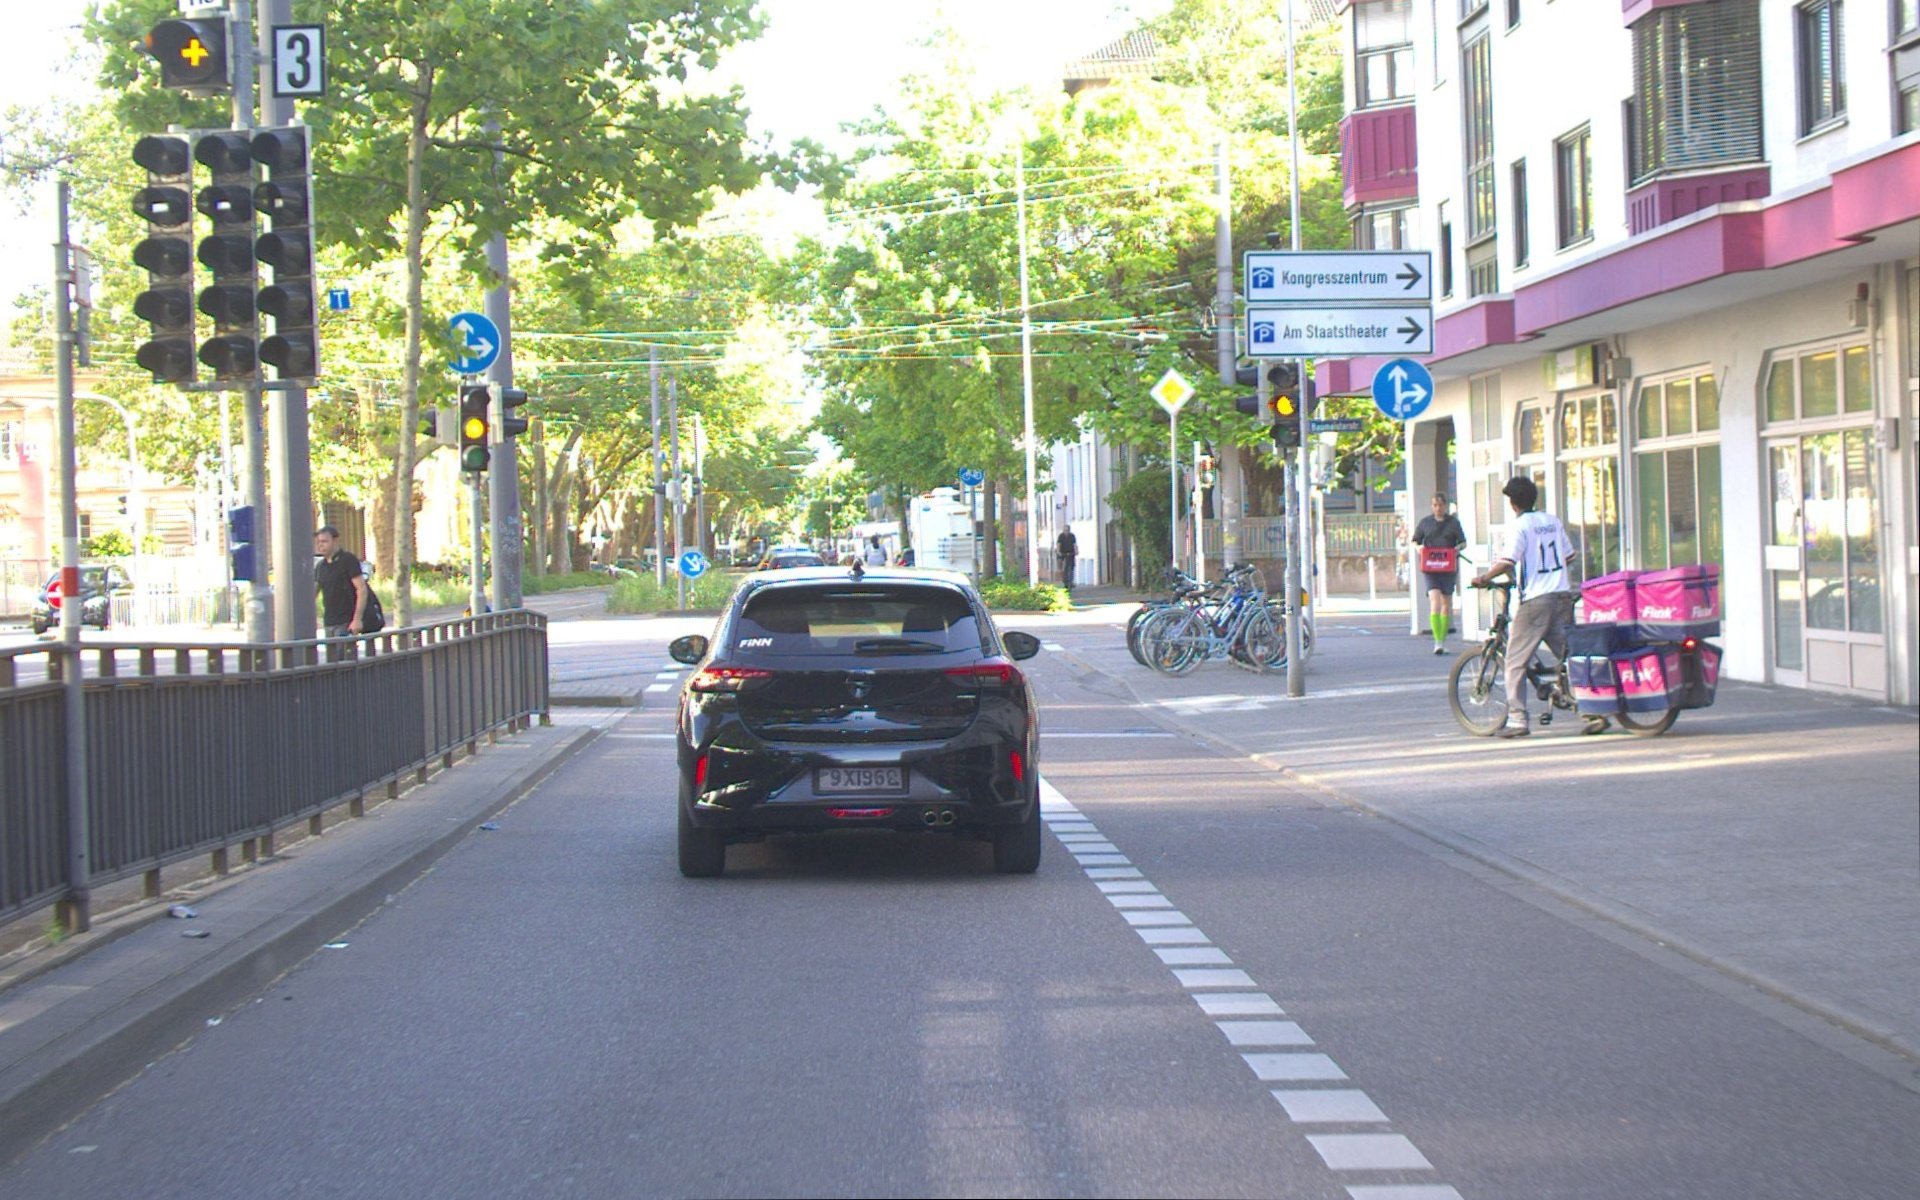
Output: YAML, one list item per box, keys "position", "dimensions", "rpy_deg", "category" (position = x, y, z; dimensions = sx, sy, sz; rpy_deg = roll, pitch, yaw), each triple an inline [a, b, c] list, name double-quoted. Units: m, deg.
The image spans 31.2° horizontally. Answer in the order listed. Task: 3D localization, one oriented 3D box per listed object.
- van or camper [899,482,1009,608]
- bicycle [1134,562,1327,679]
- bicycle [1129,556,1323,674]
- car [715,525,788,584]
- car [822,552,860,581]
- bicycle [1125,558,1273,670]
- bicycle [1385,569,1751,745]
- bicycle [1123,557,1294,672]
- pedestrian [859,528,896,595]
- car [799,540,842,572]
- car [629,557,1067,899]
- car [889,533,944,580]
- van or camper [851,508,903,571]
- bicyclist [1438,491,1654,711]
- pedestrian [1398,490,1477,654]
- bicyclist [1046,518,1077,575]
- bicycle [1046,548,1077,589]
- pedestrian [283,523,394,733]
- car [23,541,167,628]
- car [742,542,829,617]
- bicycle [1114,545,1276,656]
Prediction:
- position: [-0.219, -1.513, 93.672]
  dimensions: [2.375, 3.114, 7.552]
  rpy_deg: [-5, 1, -3]
  category: "van or camper"
- position: [2.873, 0.213, 36.559]
  dimensions: [1.939, 1.166, 0.572]
  rpy_deg: [-2, 1, -4]
  category: "bicycle"
- position: [2.872, 0.157, 37.187]
  dimensions: [1.976, 1.195, 0.591]
  rpy_deg: [-2, 1, -6]
  category: "bicycle"
- position: [-5.884, -1.294, 97.549]
  dimensions: [1.993, 1.622, 4.471]
  rpy_deg: [0, 1, -3]
  category: "car"
- position: [-6.265, -1.783, 181.506]
  dimensions: [1.905, 1.420, 4.216]
  rpy_deg: [-2, 1, -1]
  category: "car"
- position: [2.680, 0.157, 38.632]
  dimensions: [1.623, 1.195, 0.496]
  rpy_deg: [-2, 1, 3]
  category: "bicycle"
- position: [4.368, 0.392, 24.913]
  dimensions: [0.960, 1.179, 2.597]
  rpy_deg: [-3, 2, -39]
  category: "bicycle"
- position: [2.744, 0.157, 38.062]
  dimensions: [1.831, 1.216, 0.496]
  rpy_deg: [-2, 1, 2]
  category: "bicycle"
- position: [-2.516, -1.172, 104.263]
  dimensions: [1.036, 2.017, 1.213]
  rpy_deg: [-1, 1, -3]
  category: "pedestrian"
- position: [-6.721, -2.141, 166.124]
  dimensions: [1.905, 1.420, 4.216]
  rpy_deg: [-2, 1, -1]
  category: "car"
- position: [-0.532, 0.542, 17.378]
  dimensions: [1.905, 1.420, 4.216]
  rpy_deg: [-2, 1, -1]
  category: "car"
- position: [-1.527, -1.545, 120.557]
  dimensions: [1.790, 1.505, 3.874]
  rpy_deg: [-3, 1, -1]
  category: "car"
- position: [-3.995, -2.925, 167.038]
  dimensions: [2.486, 2.983, 5.434]
  rpy_deg: [0, 1, -1]
  category: "van or camper"
- position: [4.260, -0.001, 25.020]
  dimensions: [1.057, 1.534, 1.079]
  rpy_deg: [-3, 1, -39]
  category: "bicyclist"
- position: [5.513, -0.324, 39.727]
  dimensions: [0.722, 1.851, 0.801]
  rpy_deg: [-2, 1, -2]
  category: "pedestrian"
- position: [2.714, -1.433, 92.179]
  dimensions: [0.749, 1.504, 0.702]
  rpy_deg: [-2, 1, 6]
  category: "bicyclist"
- position: [2.723, -0.845, 92.201]
  dimensions: [0.639, 1.066, 1.950]
  rpy_deg: [-2, 1, 6]
  category: "bicycle"
- position: [-5.281, 0.229, 29.231]
  dimensions: [0.734, 1.740, 0.712]
  rpy_deg: [-1, 1, 3]
  category: "pedestrian"
- position: [-20.760, -0.395, 82.679]
  dimensions: [1.994, 1.941, 4.424]
  rpy_deg: [-1, 2, 5]
  category: "car"
- position: [-3.975, -0.494, 78.775]
  dimensions: [1.832, 1.617, 4.285]
  rpy_deg: [-1, 1, -1]
  category: "car"
- position: [2.685, 0.006, 39.377]
  dimensions: [1.802, 1.195, 0.545]
  rpy_deg: [-2, 0, 3]
  category: "bicycle"
